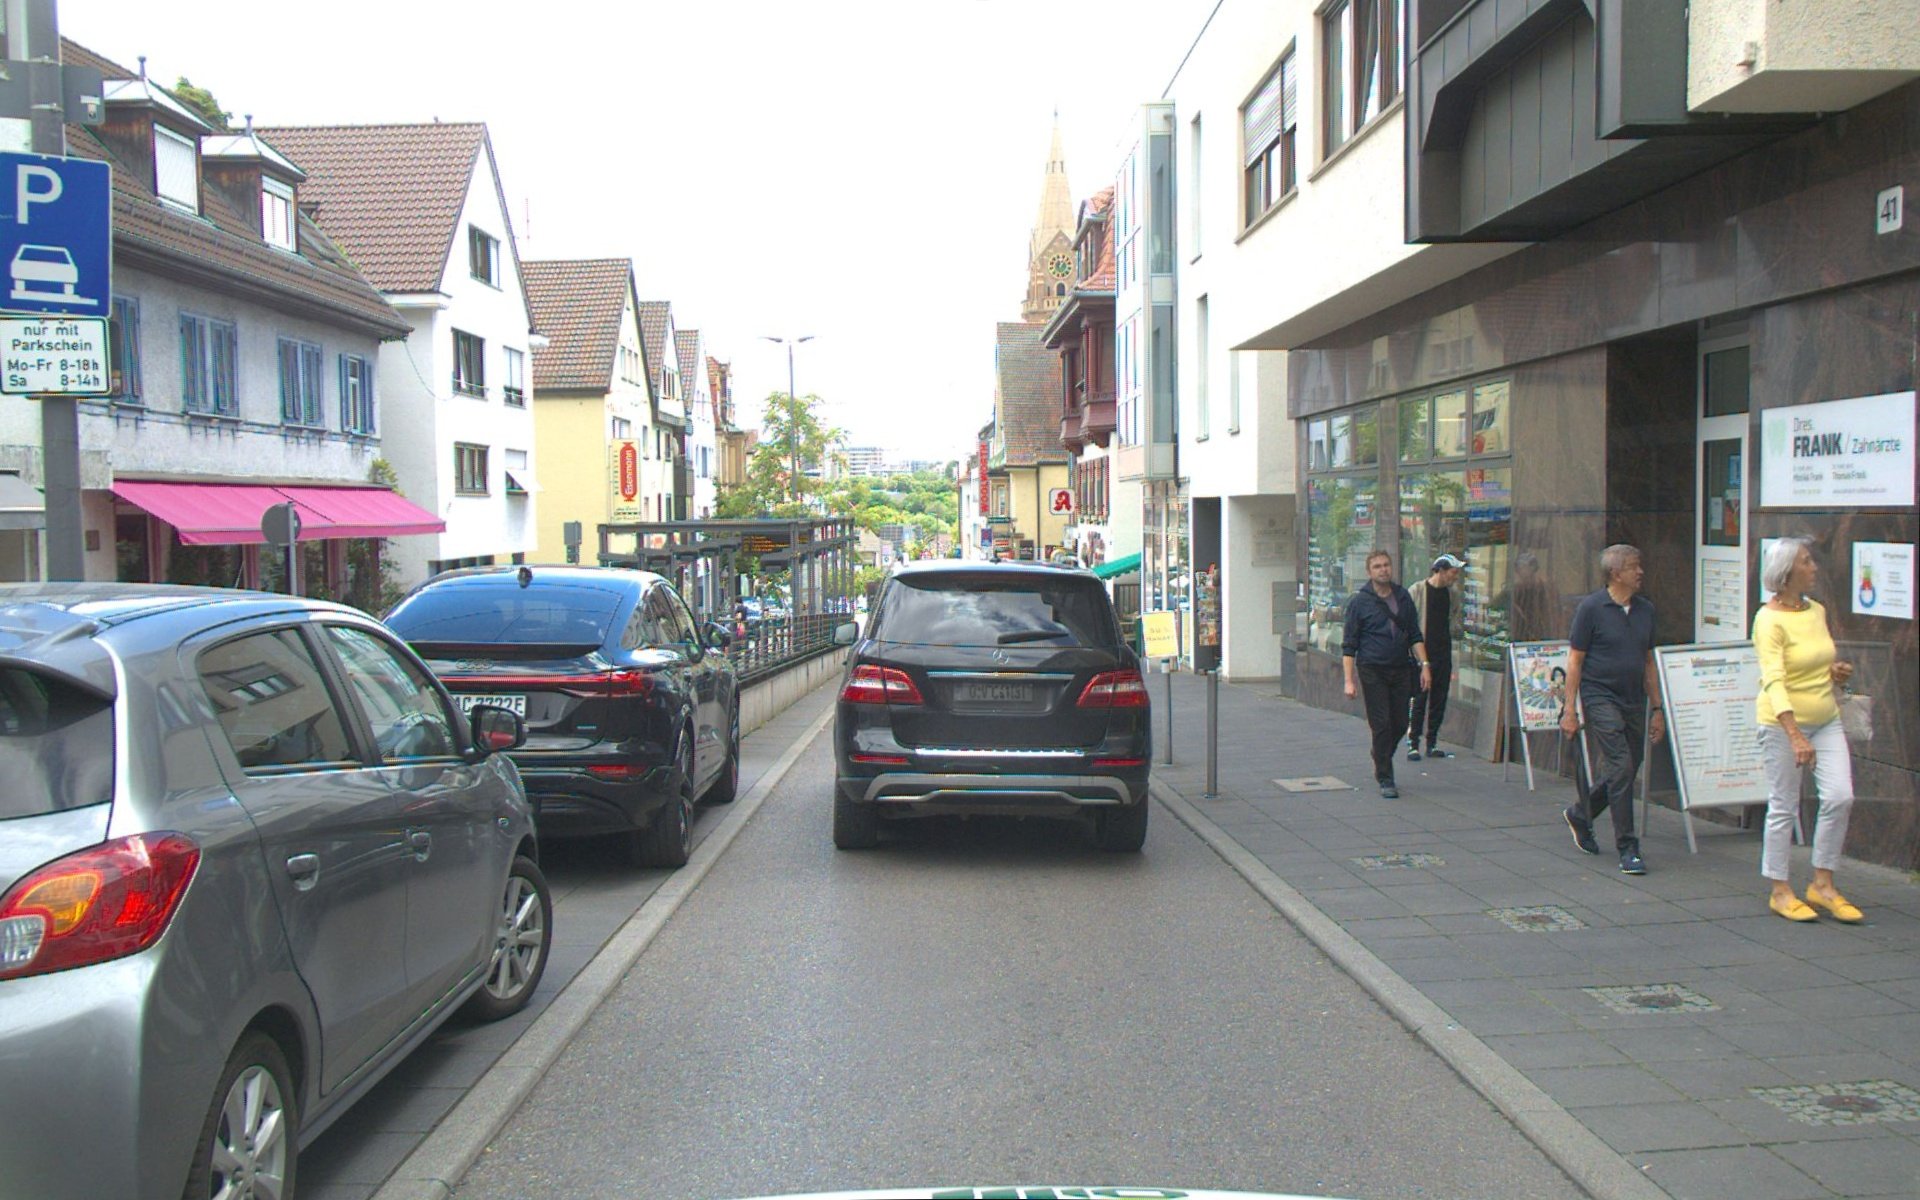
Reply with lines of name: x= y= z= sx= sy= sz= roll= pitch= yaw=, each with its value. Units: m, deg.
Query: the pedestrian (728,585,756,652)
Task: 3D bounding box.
pedestrian: x=-5.680 y=0.480 z=43.112 sx=0.613 sy=1.718 sz=0.678 roll=1 pitch=0 yaw=-2

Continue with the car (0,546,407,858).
car: x=-4.789 y=0.486 z=9.937 sx=1.704 sy=1.501 sz=3.882 roll=1 pitch=0 yaw=-2

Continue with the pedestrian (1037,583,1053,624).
pedestrian: x=3.555 y=0.143 z=69.185 sx=0.594 sy=1.718 sz=0.724 roll=-1 pitch=0 yaw=-2

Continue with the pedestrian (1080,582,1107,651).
pedestrian: x=3.380 y=0.420 z=41.886 sx=0.562 sy=1.718 sz=0.565 roll=1 pitch=0 yaw=-8

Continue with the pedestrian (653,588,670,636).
pedestrian: x=-10.724 y=0.416 z=59.475 sx=0.502 sy=1.718 sz=0.541 roll=1 pitch=0 yaw=-2

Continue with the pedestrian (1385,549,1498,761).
pedestrian: x=4.073 y=0.452 z=14.018 sx=0.650 sy=1.718 sz=0.542 roll=-4 pitch=0 yaw=-8

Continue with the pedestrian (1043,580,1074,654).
pedestrian: x=2.323 y=0.405 z=39.015 sx=0.609 sy=1.718 sz=0.565 roll=1 pitch=0 yaw=-8

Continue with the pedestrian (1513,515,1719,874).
pedestrian: x=3.441 y=0.474 z=8.736 sx=0.697 sy=1.784 sz=0.785 roll=-2 pitch=0 yaw=-1

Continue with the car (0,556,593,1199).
car: x=-2.177 y=0.697 z=4.511 sx=1.587 sy=1.559 sz=3.669 roll=1 pitch=0 yaw=-1

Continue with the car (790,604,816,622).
car: x=-10.037 y=0.850 z=105.882 sx=1.360 sy=1.089 sz=3.112 roll=-1 pitch=0 yaw=-1

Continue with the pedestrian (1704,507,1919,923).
pedestrian: x=3.770 y=0.456 z=7.104 sx=0.697 sy=1.659 sz=0.835 roll=-2 pitch=0 yaw=-1

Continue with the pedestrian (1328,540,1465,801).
pedestrian: x=3.128 y=0.488 z=11.921 sx=0.697 sy=1.784 sz=0.787 roll=-2 pitch=0 yaw=-1

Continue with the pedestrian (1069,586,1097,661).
pedestrian: x=2.945 y=0.554 z=39.607 sx=0.532 sy=1.756 sz=0.527 roll=-1 pitch=0 yaw=-8

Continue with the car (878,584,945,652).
car: x=-1.332 y=0.479 z=45.351 sx=1.734 sy=1.743 sz=3.999 roll=1 pitch=0 yaw=-2

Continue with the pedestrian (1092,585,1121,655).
pedestrian: x=3.632 y=0.494 z=41.031 sx=0.562 sy=1.718 sz=0.565 roll=-2 pitch=0 yaw=-8

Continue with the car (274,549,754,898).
car: x=-2.426 y=0.601 z=10.191 sx=1.917 sy=1.668 sz=4.312 roll=1 pitch=0 yaw=-2

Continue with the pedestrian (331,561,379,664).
pedestrian: x=-10.273 y=0.212 z=28.091 sx=0.566 sy=1.718 sz=0.576 roll=1 pitch=0 yaw=-2

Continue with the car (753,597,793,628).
car: x=-9.408 y=0.602 z=83.338 sx=1.627 sy=1.516 sz=3.747 roll=1 pitch=0 yaw=-1

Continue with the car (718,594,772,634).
car: x=-8.571 y=0.558 z=66.217 sx=1.655 sy=1.516 sz=3.978 roll=1 pitch=0 yaw=-1

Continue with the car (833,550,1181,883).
car: x=0.164 y=0.632 z=10.965 sx=1.862 sy=1.777 sz=3.998 roll=1 pitch=0 yaw=-3

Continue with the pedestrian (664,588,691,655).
pedestrian: x=-7.377 y=0.547 z=43.159 sx=0.602 sy=1.718 sz=0.560 roll=-1 pitch=0 yaw=-18
